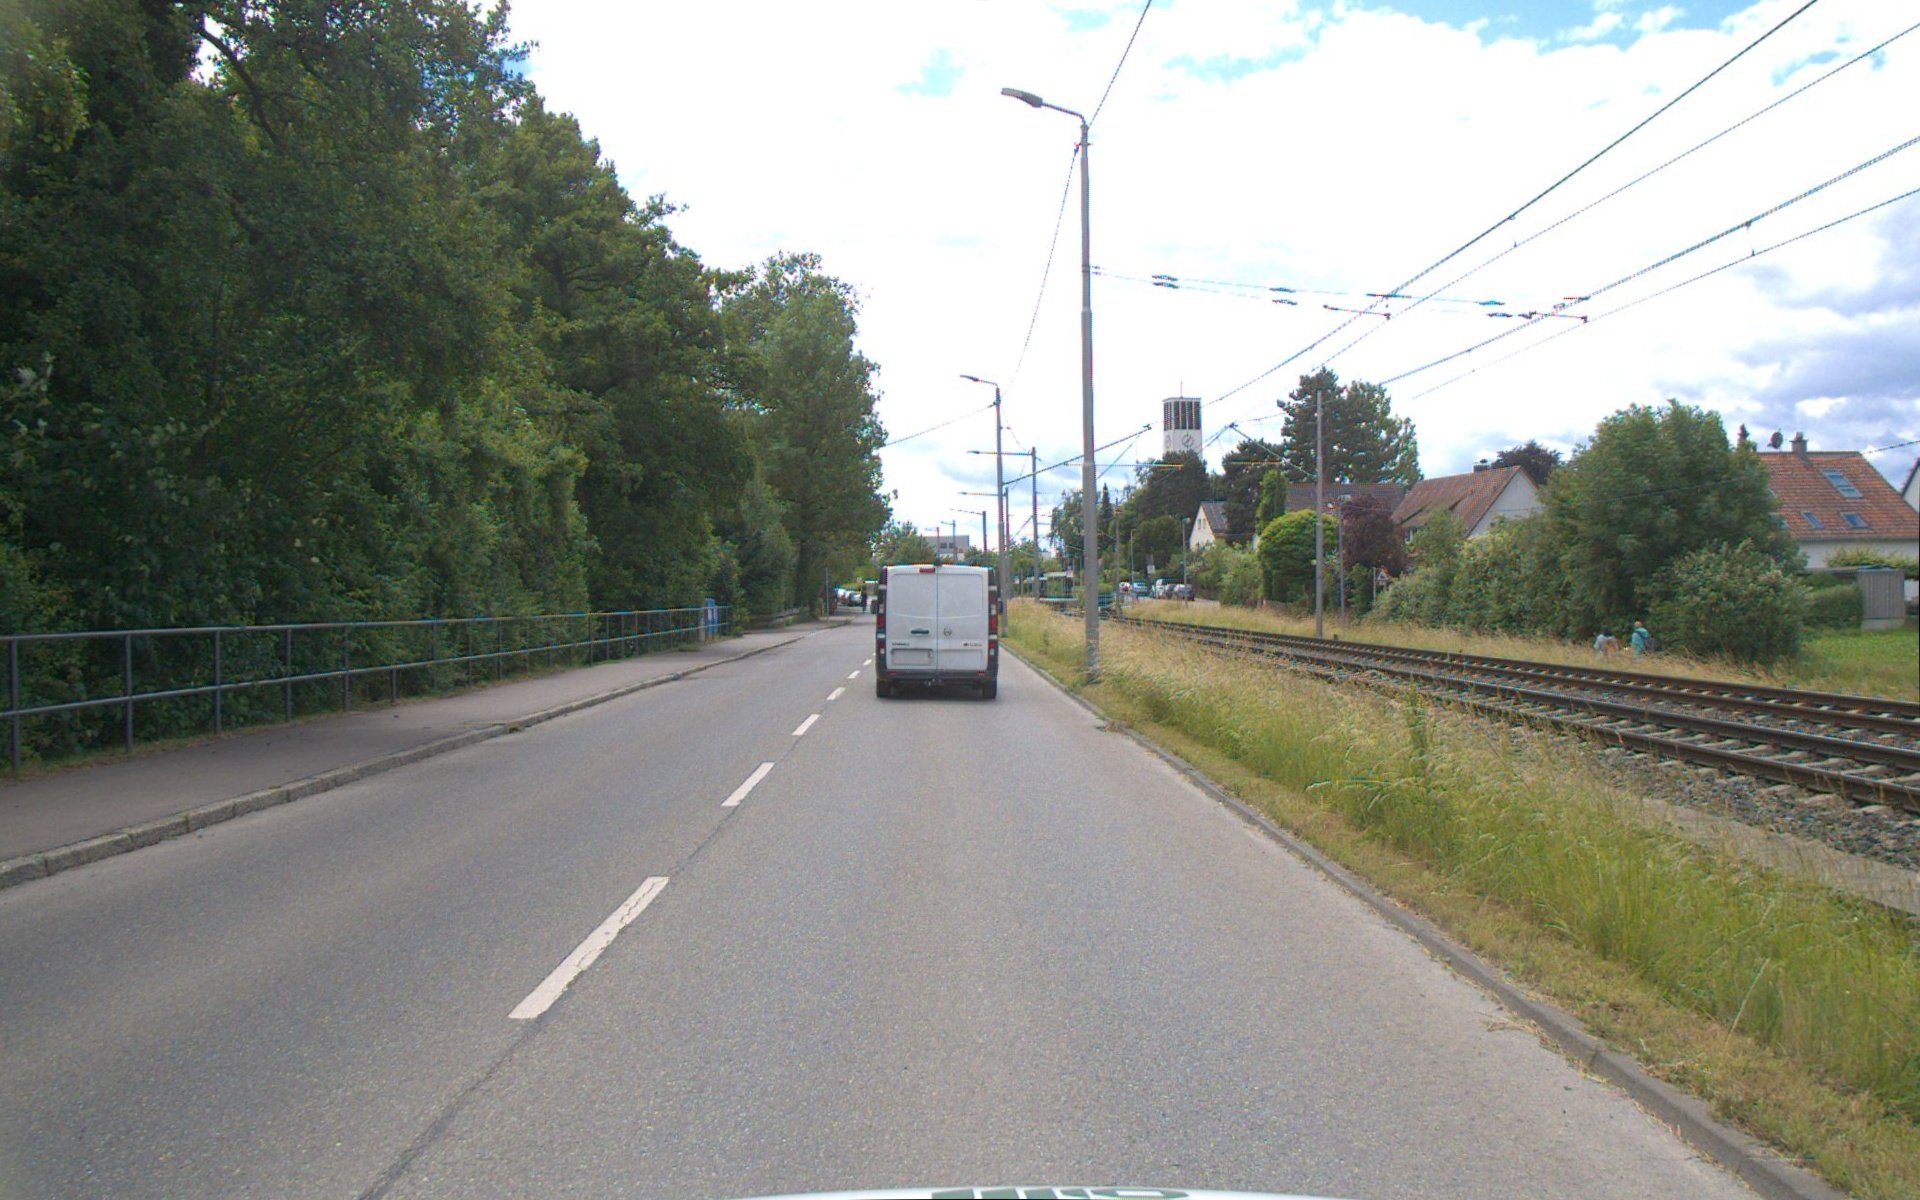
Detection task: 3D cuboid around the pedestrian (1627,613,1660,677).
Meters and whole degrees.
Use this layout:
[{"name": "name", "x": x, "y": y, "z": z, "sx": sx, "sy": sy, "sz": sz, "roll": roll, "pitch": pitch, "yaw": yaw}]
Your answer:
[{"name": "pedestrian", "x": 17.830, "y": 1.168, "z": 43.156, "sx": 0.604, "sy": 1.650, "sz": 0.584, "roll": 1, "pitch": 0, "yaw": -1}]

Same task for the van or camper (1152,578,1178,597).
[{"name": "van or camper", "x": 20.002, "y": -1.208, "z": 161.600, "sx": 1.866, "sy": 1.857, "sz": 5.047, "roll": -1, "pitch": 0, "yaw": 0}]

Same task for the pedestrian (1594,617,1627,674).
[{"name": "pedestrian", "x": 16.971, "y": 1.187, "z": 43.155, "sx": 0.586, "sy": 1.455, "sz": 0.666, "roll": 1, "pitch": 0, "yaw": -2}]

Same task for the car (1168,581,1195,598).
[{"name": "car", "x": 20.157, "y": -0.967, "z": 150.771, "sx": 1.845, "sy": 1.548, "sz": 4.000, "roll": -1, "pitch": 0, "yaw": 0}]

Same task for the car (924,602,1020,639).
[{"name": "car", "x": 0.541, "y": 0.872, "z": 70.005, "sx": 3.902, "sy": 1.505, "sz": 1.958, "roll": 0, "pitch": 0, "yaw": 6}]

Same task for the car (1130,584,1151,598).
[{"name": "car", "x": 19.964, "y": -1.005, "z": 183.306, "sx": 1.845, "sy": 1.548, "sz": 4.000, "roll": -1, "pitch": 0, "yaw": 0}]

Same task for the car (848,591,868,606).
[{"name": "car", "x": -10.629, "y": -0.164, "z": 172.431, "sx": 1.704, "sy": 1.531, "sz": 4.470, "roll": -3, "pitch": 1, "yaw": -7}]

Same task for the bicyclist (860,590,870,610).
[{"name": "bicyclist", "x": -7.658, "y": 0.014, "z": 133.581, "sx": 0.762, "sy": 1.576, "sz": 0.869, "roll": -1, "pitch": 0, "yaw": -1}]

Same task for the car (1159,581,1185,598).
[{"name": "car", "x": 20.094, "y": -1.018, "z": 156.880, "sx": 1.845, "sy": 1.548, "sz": 4.000, "roll": -1, "pitch": 0, "yaw": 0}]

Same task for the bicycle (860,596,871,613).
[{"name": "bicycle", "x": -7.616, "y": 0.364, "z": 133.433, "sx": 0.740, "sy": 1.248, "sz": 2.308, "roll": -3, "pitch": 0, "yaw": -1}]

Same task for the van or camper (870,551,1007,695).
[{"name": "van or camper", "x": -0.334, "y": 0.335, "z": 25.994, "sx": 1.953, "sy": 2.049, "sz": 4.445, "roll": 0, "pitch": 0, "yaw": -1}]
